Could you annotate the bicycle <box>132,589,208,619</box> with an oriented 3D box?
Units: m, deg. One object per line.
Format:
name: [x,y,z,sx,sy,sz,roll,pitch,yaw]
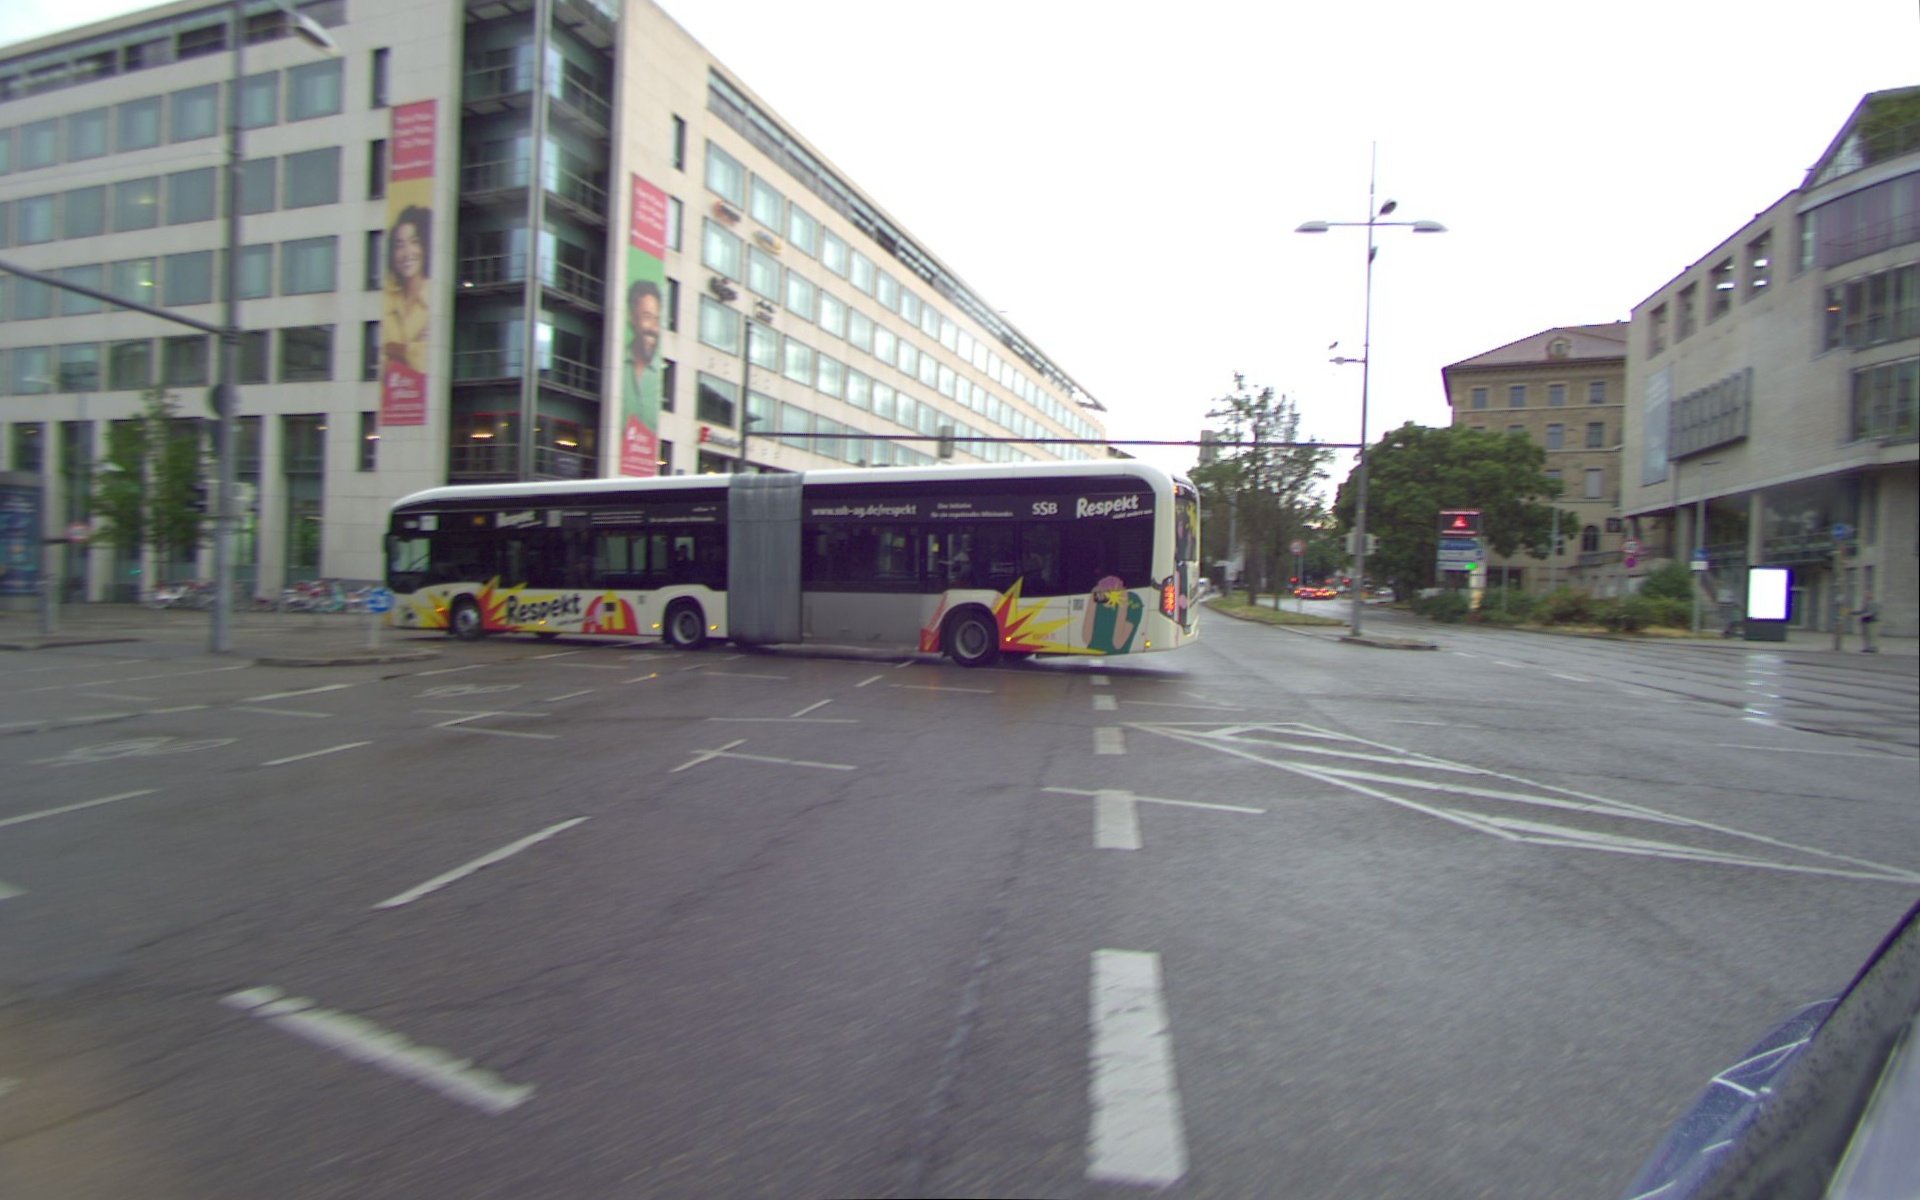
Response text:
bicycle: [-29.710,0.136,38.119,0.484,1.112,2.330,0,1,23]

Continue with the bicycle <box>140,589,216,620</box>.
bicycle: [-29.245,0.154,37.911,0.484,1.112,2.330,1,1,23]

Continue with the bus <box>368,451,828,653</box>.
bus: [-7.899,-0.924,21.542,10.206,3.633,2.666,0,1,23]

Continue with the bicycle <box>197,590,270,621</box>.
bicycle: [-27.283,0.193,38.070,0.484,1.112,2.330,0,1,23]

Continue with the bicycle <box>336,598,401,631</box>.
bicycle: [-20.916,0.504,35.812,0.486,1.112,1.979,0,1,35]

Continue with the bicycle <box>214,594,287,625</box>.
bicycle: [-26.399,0.345,37.692,0.484,1.112,2.330,0,1,23]

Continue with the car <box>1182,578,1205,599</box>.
car: [25.258,-1.296,109.437,1.955,2.155,5.075,1,1,19]

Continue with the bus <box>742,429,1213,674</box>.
bus: [0.198,-0.774,17.918,8.001,3.633,2.664,0,1,25]

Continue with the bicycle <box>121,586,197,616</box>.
bicycle: [-30.554,0.022,38.644,0.484,1.112,2.330,0,1,23]

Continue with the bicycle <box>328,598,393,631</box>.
bicycle: [-21.379,0.497,36.111,0.486,1.112,1.976,0,1,35]

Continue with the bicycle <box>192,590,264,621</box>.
bicycle: [-27.797,0.192,38.468,0.484,1.112,2.330,0,1,23]

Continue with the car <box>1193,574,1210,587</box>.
car: [36.878,-2.963,154.364,1.976,2.039,3.972,1,1,21]

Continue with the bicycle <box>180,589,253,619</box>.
bicycle: [-28.360,0.141,38.657,0.484,1.112,2.330,0,1,23]

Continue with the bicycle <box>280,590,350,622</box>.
bicycle: [-23.618,0.204,37.118,0.484,1.112,2.330,0,1,23]
